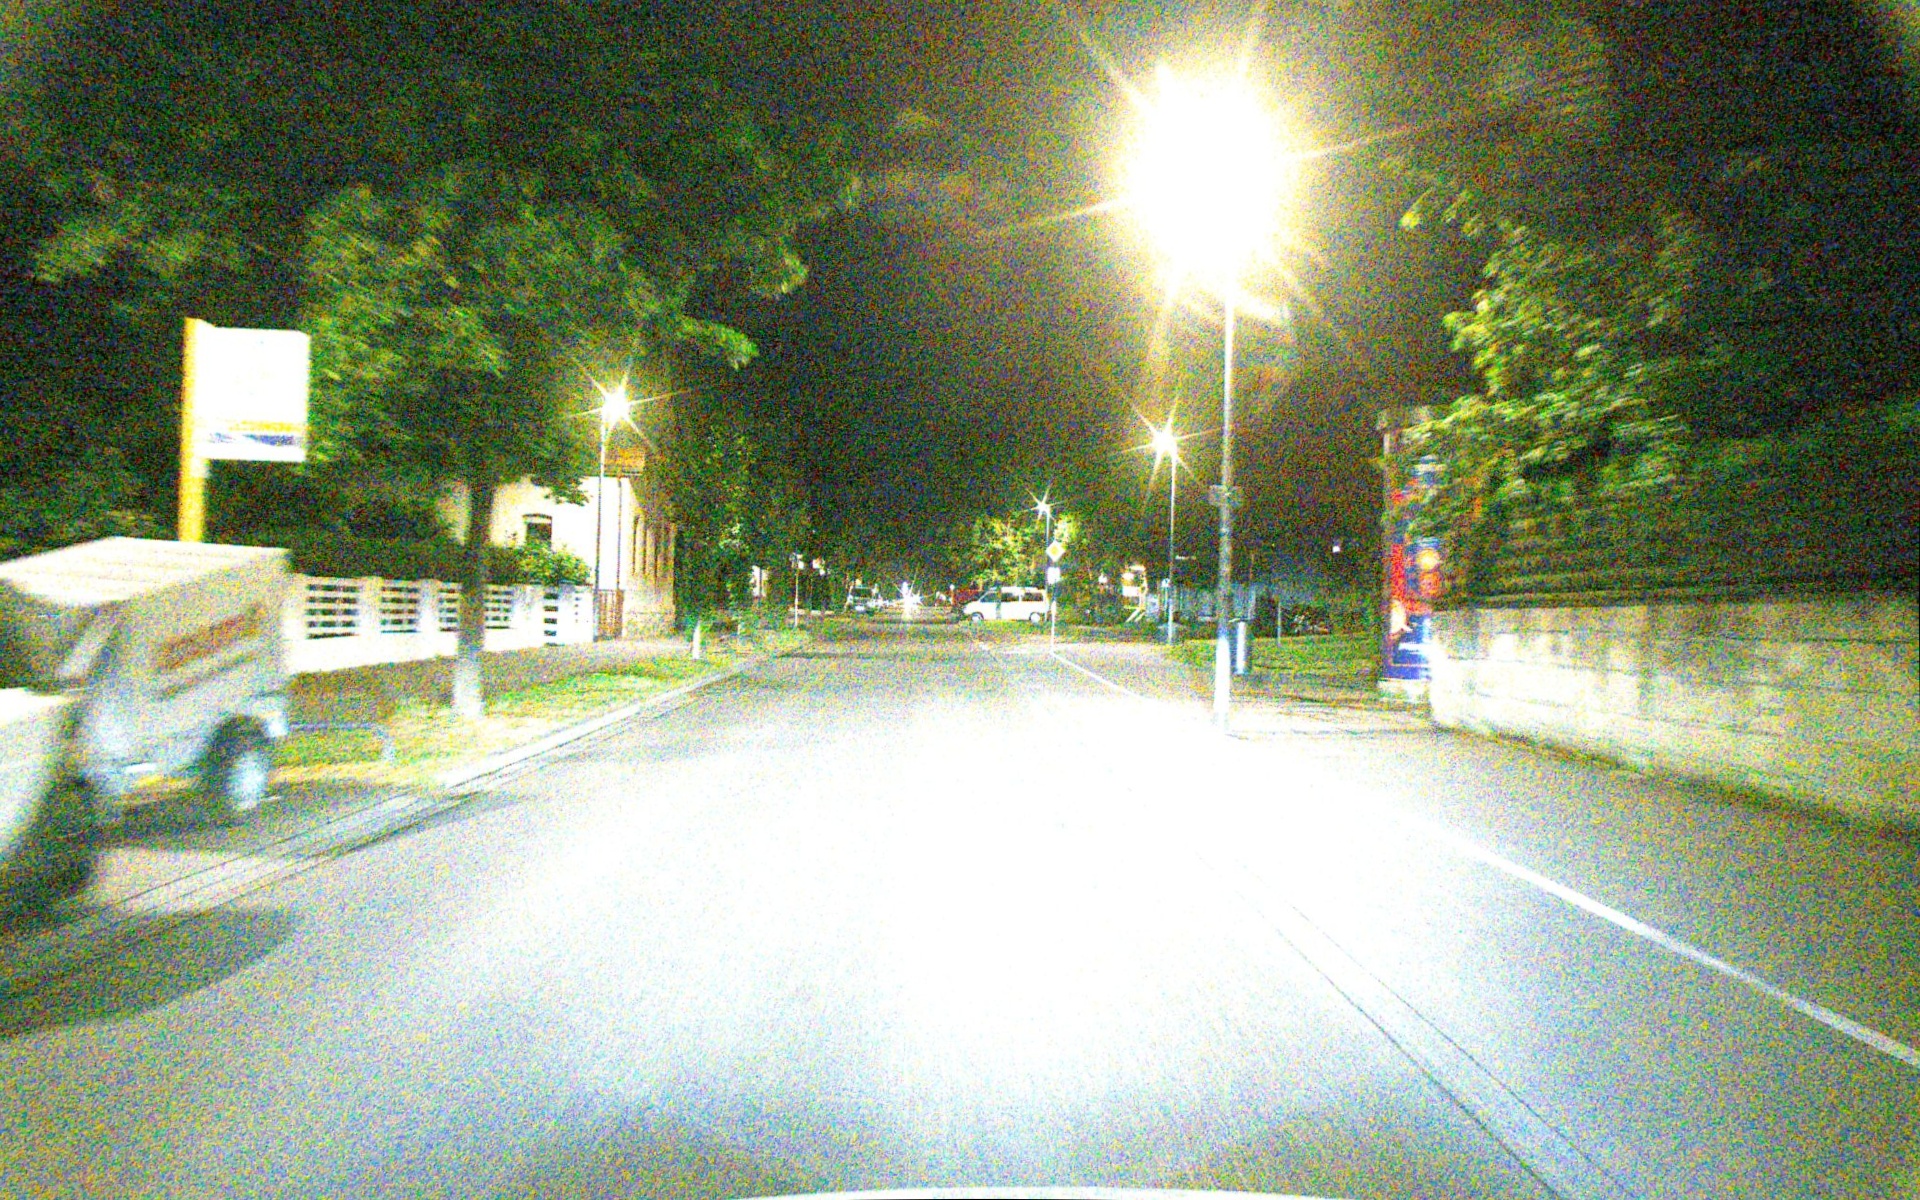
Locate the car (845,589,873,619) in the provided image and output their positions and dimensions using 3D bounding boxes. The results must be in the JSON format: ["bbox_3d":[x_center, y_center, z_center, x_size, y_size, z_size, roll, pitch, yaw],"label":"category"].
[{"bbox_3d":[-7.051,0.259,116.244,1.788,2.021,4.463,3,0,-3],"label":"car"}]

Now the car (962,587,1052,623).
[{"bbox_3d":[2.692,0.284,95.919,5.078,2.049,2.101,0,0,-3],"label":"car"}]

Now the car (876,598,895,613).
[{"bbox_3d":[-6.700,0.475,148.650,1.649,1.354,3.597,1,0,-3],"label":"car"}]

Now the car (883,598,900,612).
[{"bbox_3d":[-6.835,0.461,165.443,1.649,1.354,3.597,1,0,-3],"label":"car"}]

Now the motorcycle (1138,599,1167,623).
[{"bbox_3d":[11.556,0.644,99.050,1.048,1.350,2.706,1,1,22],"label":"motorcycle"}]

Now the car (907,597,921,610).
[{"bbox_3d":[-6.076,0.432,218.673,1.888,1.677,3.819,0,0,-3],"label":"car"}]

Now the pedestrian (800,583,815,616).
[{"bbox_3d":[-9.629,-0.014,104.528,0.769,2.049,1.204,3,0,-1],"label":"pedestrian"}]

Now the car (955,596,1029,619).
[{"bbox_3d":[2.202,0.513,114.895,5.078,1.495,2.101,0,0,-3],"label":"car"}]

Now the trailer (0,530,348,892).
[{"bbox_3d":[-5.005,0.502,9.669,1.418,1.717,3.426,3,0,1],"label":"trailer"}]

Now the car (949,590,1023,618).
[{"bbox_3d":[1.855,0.267,117.605,5.072,1.920,2.103,0,0,8],"label":"car"}]

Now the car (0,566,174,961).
[{"bbox_3d":[-4.583,0.612,6.424,1.638,1.548,2.977,3,0,-3],"label":"car"}]

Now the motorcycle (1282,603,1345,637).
[{"bbox_3d":[13.236,0.755,61.945,2.223,1.235,0.708,-1,0,-17],"label":"motorcycle"}]

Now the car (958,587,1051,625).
[{"bbox_3d":[2.493,0.321,92.849,5.078,2.049,2.101,0,0,-3],"label":"car"}]
